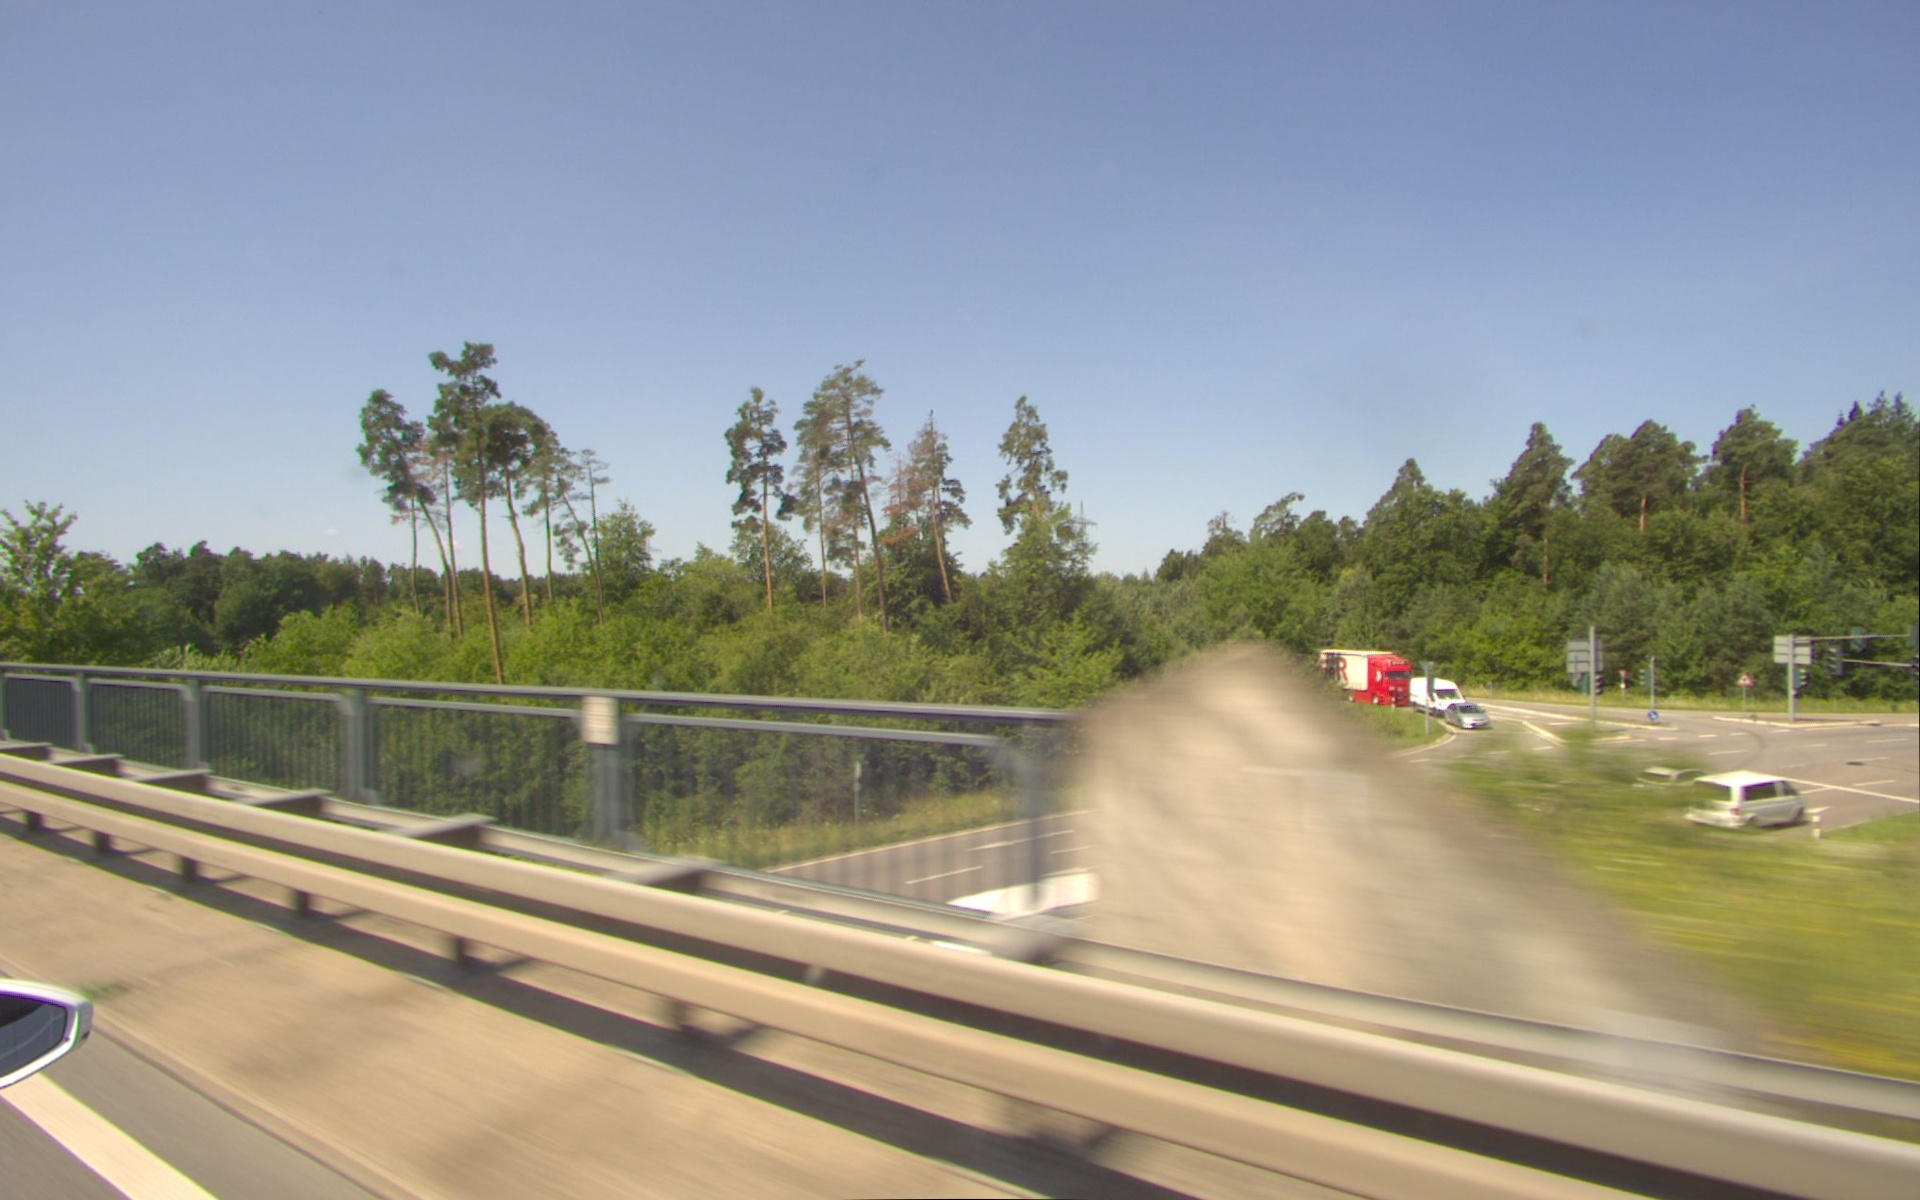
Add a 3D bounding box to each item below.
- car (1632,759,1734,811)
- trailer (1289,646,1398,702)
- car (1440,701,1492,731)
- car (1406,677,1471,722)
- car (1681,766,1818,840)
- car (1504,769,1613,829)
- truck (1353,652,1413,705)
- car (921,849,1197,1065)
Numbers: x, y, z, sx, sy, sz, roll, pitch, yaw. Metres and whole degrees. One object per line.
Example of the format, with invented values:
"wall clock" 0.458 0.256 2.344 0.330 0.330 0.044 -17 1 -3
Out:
"car" 30.675 7.815 42.462 4.329 1.461 1.693 -1 3 -27
"trailer" 32.185 6.095 84.896 2.218 3.704 13.150 3 0 -9
"car" 32.503 7.437 64.472 1.732 1.463 3.778 3 0 7
"car" 33.882 6.989 71.054 1.961 2.567 5.439 3 0 1
"car" 29.930 7.623 37.946 5.152 1.992 1.898 0 3 -25
"car" 23.588 7.789 39.452 4.069 1.655 1.749 0 3 -27
"truck" 33.179 6.137 78.693 2.189 3.704 4.419 3 0 -9
"car" 2.312 7.481 21.803 6.274 2.687 2.021 -1 2 -37
